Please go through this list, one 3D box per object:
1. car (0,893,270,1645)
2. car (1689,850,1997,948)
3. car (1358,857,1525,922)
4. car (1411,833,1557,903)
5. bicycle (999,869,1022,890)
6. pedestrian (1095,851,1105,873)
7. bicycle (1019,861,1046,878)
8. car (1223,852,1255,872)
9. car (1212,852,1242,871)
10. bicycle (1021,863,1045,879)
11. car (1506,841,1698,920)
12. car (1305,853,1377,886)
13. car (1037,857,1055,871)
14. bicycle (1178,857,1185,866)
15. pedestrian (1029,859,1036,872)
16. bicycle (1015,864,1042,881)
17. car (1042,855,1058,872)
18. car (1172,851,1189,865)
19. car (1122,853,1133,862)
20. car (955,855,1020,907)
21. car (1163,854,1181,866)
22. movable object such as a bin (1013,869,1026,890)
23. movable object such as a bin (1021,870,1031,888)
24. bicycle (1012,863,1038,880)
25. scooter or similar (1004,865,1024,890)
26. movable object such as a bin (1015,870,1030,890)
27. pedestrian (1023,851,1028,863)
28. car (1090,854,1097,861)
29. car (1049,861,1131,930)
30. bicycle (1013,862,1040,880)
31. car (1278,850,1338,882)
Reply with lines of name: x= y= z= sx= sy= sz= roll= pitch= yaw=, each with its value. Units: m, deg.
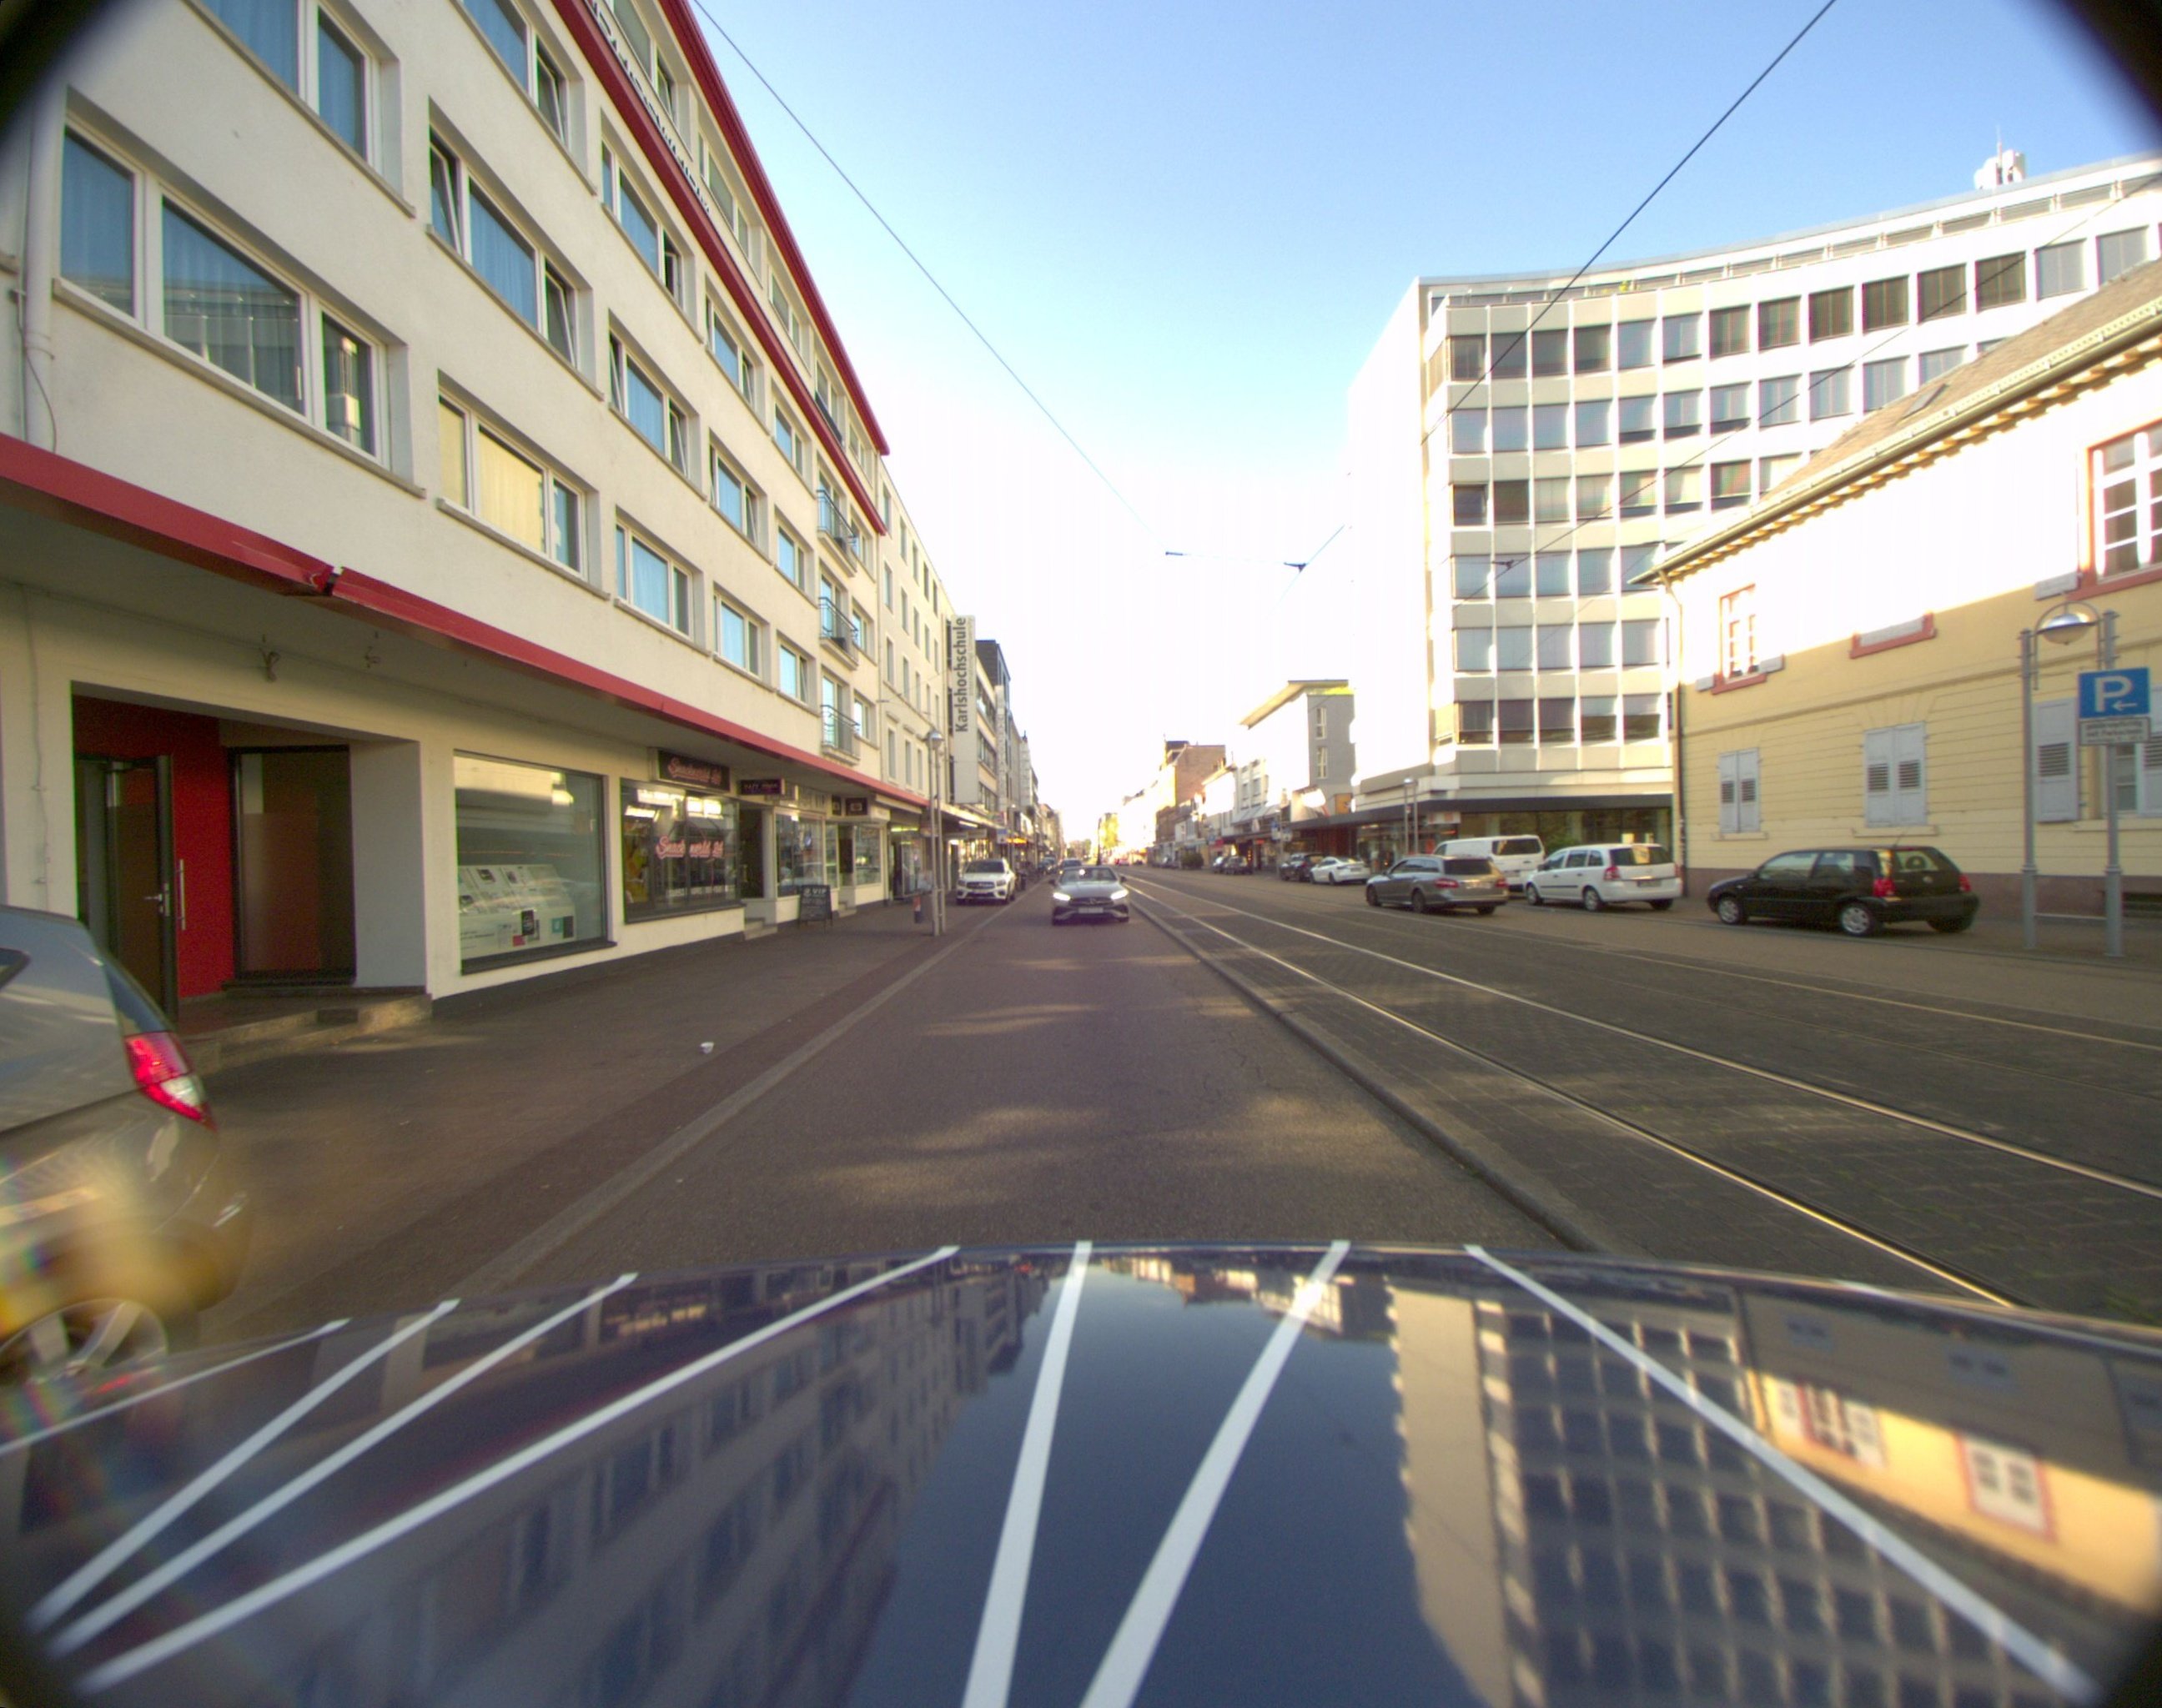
car: x=-3.252 y=0.921 z=0.388 sx=1.749 sy=1.622 sz=3.649 roll=0 pitch=0 yaw=0
car: x=13.052 y=0.675 z=13.382 sx=1.618 sy=1.392 sz=3.719 roll=-3 pitch=0 yaw=-1
car: x=9.160 y=0.825 z=19.875 sx=1.885 sy=1.487 sz=4.929 roll=0 pitch=0 yaw=-2
car: x=13.089 y=0.410 z=25.127 sx=1.999 sy=1.963 sz=5.095 roll=-3 pitch=0 yaw=-1
bicycle: x=-3.521 y=1.282 z=38.182 sx=1.134 sy=1.073 sz=0.320 roll=0 pitch=1 yaw=-2
pedestrian: x=1.565 y=0.648 z=62.167 sx=0.806 sy=1.827 sz=0.746 roll=0 pitch=1 yaw=-2
bicycle: x=-3.768 y=1.221 z=58.823 sx=2.043 sy=1.267 sz=0.524 roll=-1 pitch=0 yaw=-10
car: x=12.801 y=0.619 z=61.577 sx=1.605 sy=1.514 sz=3.588 roll=-4 pitch=0 yaw=-3
car: x=12.927 y=0.600 z=67.520 sx=1.741 sy=1.514 sz=4.851 roll=-4 pitch=0 yaw=0
bicycle: x=-3.634 y=1.285 z=57.750 sx=1.778 sy=1.124 sz=0.478 roll=-1 pitch=0 yaw=-6
car: x=13.055 y=0.575 z=19.471 sx=1.812 sy=1.676 sz=4.648 roll=-3 pitch=0 yaw=2
car: x=13.065 y=0.746 z=38.479 sx=1.893 sy=1.413 sz=4.655 roll=-3 pitch=0 yaw=-2
car: x=-3.796 y=1.095 z=83.204 sx=1.726 sy=1.476 sz=4.415 roll=0 pitch=0 yaw=-1
bicycle: x=11.753 y=0.866 z=89.197 sx=0.520 sy=1.084 sz=1.716 roll=-3 pitch=1 yaw=0
pedestrian: x=-5.656 y=1.285 z=88.224 sx=0.697 sy=1.499 sz=0.814 roll=-1 pitch=0 yaw=-1
bicycle: x=-3.700 y=1.289 z=53.571 sx=1.792 sy=1.210 sz=0.669 roll=-1 pitch=0 yaw=-1
car: x=-3.683 y=1.115 z=89.519 sx=1.821 sy=1.849 sz=4.548 roll=0 pitch=0 yaw=-4
car: x=12.569 y=0.513 z=96.492 sx=1.701 sy=1.594 sz=2.891 roll=-3 pitch=1 yaw=-1
car: x=8.927 y=0.646 z=146.635 sx=1.802 sy=1.625 sz=3.675 roll=-1 pitch=0 yaw=0
car: x=-3.387 y=0.935 z=28.461 sx=1.854 sy=1.714 sz=5.192 roll=0 pitch=0 yaw=-1
car: x=12.606 y=0.775 z=105.654 sx=1.822 sy=1.505 sz=4.762 roll=-2 pitch=0 yaw=0
movable object such as a bin: x=-3.153 y=1.309 z=38.983 sx=0.523 sy=1.008 sz=0.671 roll=-1 pitch=1 yaw=2
movable object such as a bin: x=-2.930 y=1.337 z=40.316 sx=0.489 sy=0.952 sz=0.458 roll=0 pitch=1 yaw=3
bicycle: x=-4.005 y=1.238 z=54.551 sx=1.792 sy=1.210 sz=0.587 roll=-1 pitch=0 yaw=-1
scooter or similar: x=-3.384 y=1.198 z=38.530 sx=0.995 sy=1.224 sz=0.320 roll=0 pitch=1 yaw=-2
movable object such as a bin: x=-3.044 y=1.339 z=39.724 sx=0.688 sy=1.008 sz=0.508 roll=-1 pitch=1 yaw=2
pedestrian: x=-6.702 y=0.408 z=92.347 sx=0.577 sy=1.431 sz=0.731 roll=0 pitch=1 yaw=-1
car: x=3.462 y=1.004 z=212.400 sx=1.998 sy=2.002 sz=4.000 roll=-3 pitch=0 yaw=1
car: x=0.171 y=0.978 z=19.688 sx=1.858 sy=1.463 sz=4.785 roll=-1 pitch=0 yaw=-1
bicycle: x=-3.748 y=1.167 z=52.268 sx=1.792 sy=1.152 sz=0.669 roll=-1 pitch=0 yaw=-1
car: x=13.000 y=0.649 z=43.854 sx=1.983 sy=1.669 sz=4.654 roll=-3 pitch=0 yaw=0
